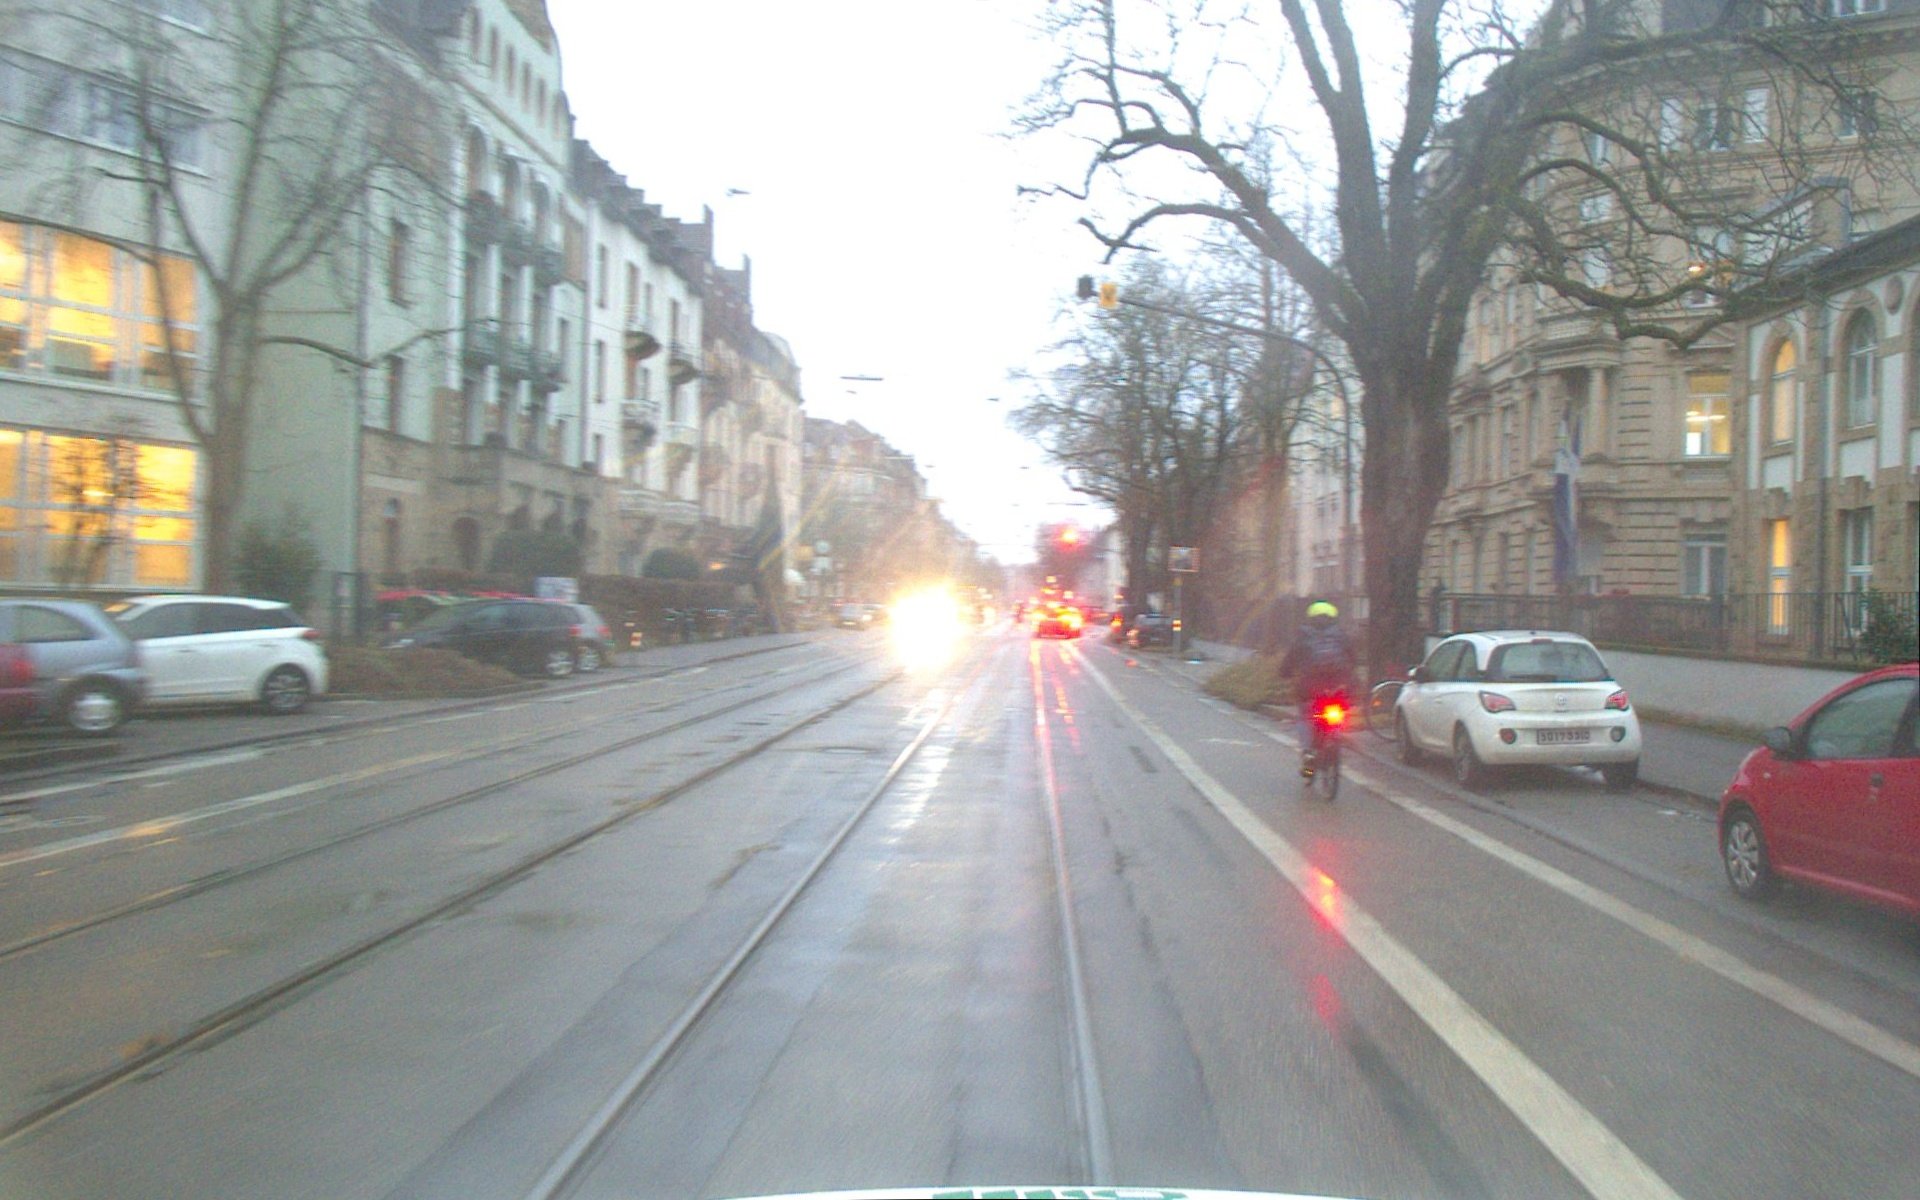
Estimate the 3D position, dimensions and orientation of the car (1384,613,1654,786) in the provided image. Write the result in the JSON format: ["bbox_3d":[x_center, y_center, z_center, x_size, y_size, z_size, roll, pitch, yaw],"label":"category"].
[{"bbox_3d":[5.736,0.952,17.410,1.656,1.546,3.638,1,0,1],"label":"car"}]

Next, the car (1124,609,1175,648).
[{"bbox_3d":[7.548,1.112,66.095,1.642,1.485,4.043,1,0,1],"label":"car"}]

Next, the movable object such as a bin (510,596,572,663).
[{"bbox_3d":[-9.454,0.663,37.312,1.244,1.476,1.105,1,0,-20],"label":"movable object such as a bin"}]

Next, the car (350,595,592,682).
[{"bbox_3d":[-9.125,0.701,31.029,3.968,1.496,1.803,1,0,-43],"label":"car"}]

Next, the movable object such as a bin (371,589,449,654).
[{"bbox_3d":[-12.812,0.492,38.566,1.236,1.476,1.327,1,0,9],"label":"movable object such as a bin"}]

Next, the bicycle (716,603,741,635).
[{"bbox_3d":[-8.059,0.672,57.605,0.678,1.049,1.595,0,-4,-3],"label":"bicycle"}]

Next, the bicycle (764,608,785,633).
[{"bbox_3d":[-7.719,0.850,68.892,0.613,1.035,1.806,0,0,1],"label":"bicycle"}]

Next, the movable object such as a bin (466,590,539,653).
[{"bbox_3d":[-10.983,0.502,39.781,1.236,1.476,1.327,1,0,9],"label":"movable object such as a bin"}]

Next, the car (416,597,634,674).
[{"bbox_3d":[-8.920,0.693,34.045,3.964,1.453,1.821,0,1,-41],"label":"car"}]

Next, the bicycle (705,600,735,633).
[{"bbox_3d":[-8.072,0.559,55.709,0.677,1.049,1.595,0,-4,3],"label":"bicycle"}]

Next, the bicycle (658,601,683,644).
[{"bbox_3d":[-8.458,0.647,48.388,0.617,1.233,1.594,1,0,-7],"label":"bicycle"}]

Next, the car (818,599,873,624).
[{"bbox_3d":[-8.670,0.869,125.045,3.903,1.758,1.741,1,0,4],"label":"car"}]

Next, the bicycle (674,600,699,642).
[{"bbox_3d":[-8.439,0.645,51.082,0.679,1.233,1.594,1,0,-7],"label":"bicycle"}]

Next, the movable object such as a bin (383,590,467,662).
[{"bbox_3d":[-11.439,0.543,35.406,1.236,1.476,1.327,1,0,9],"label":"movable object such as a bin"}]

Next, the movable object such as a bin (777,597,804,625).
[{"bbox_3d":[-9.818,0.631,95.758,1.379,1.557,1.365,1,0,2],"label":"movable object such as a bin"}]

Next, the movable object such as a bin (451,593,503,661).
[{"bbox_3d":[-10.777,0.603,36.898,1.072,1.476,1.106,1,0,-19],"label":"movable object such as a bin"}]

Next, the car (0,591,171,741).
[{"bbox_3d":[-10.347,0.656,16.924,3.950,1.489,1.717,0,-1,-33],"label":"car"}]

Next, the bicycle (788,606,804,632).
[{"bbox_3d":[-7.388,0.850,74.680,0.602,1.099,1.810,1,1,-2],"label":"bicycle"}]

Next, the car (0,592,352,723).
[{"bbox_3d":[-9.752,0.647,20.494,3.822,1.448,1.709,0,1,-44],"label":"car"}]

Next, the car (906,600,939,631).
[{"bbox_3d":[-2.474,1.006,109.099,2.004,1.956,5.100,1,1,0],"label":"car"}]

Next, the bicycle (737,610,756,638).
[{"bbox_3d":[-7.972,0.892,61.877,0.679,1.049,1.594,1,-1,-7],"label":"bicycle"}]

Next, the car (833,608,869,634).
[{"bbox_3d":[-6.641,1.269,101.375,1.795,1.472,4.001,1,1,2],"label":"car"}]

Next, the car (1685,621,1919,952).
[{"bbox_3d":[5.497,0.955,8.868,1.609,1.550,3.572,2,1,0],"label":"car"}]

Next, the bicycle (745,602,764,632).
[{"bbox_3d":[-7.917,0.649,63.842,0.476,1.119,1.931,0,0,1],"label":"bicycle"}]

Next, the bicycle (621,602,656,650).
[{"bbox_3d":[-8.555,0.684,44.031,0.678,1.233,1.596,1,0,-3],"label":"bicycle"}]

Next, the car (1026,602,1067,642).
[{"bbox_3d":[4.427,1.146,85.204,1.952,1.930,4.759,2,-1,1],"label":"car"}]

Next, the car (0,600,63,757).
[{"bbox_3d":[-10.149,0.689,13.892,1.720,1.376,4.318,0,0,44],"label":"car"}]

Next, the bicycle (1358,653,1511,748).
[{"bbox_3d":[5.776,1.217,20.199,1.677,1.089,0.663,1,0,2],"label":"bicycle"}]

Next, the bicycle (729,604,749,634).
[{"bbox_3d":[-7.974,0.699,59.598,0.679,1.049,1.594,1,-2,-7],"label":"bicycle"}]

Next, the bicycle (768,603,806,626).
[{"bbox_3d":[-8.383,0.699,80.139,1.769,1.099,0.616,1,0,-5],"label":"bicycle"}]

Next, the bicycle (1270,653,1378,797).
[{"bbox_3d":[3.278,1.091,15.031,0.692,1.116,2.030,1,1,5],"label":"bicycle"}]

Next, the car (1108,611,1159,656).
[{"bbox_3d":[8.088,1.530,77.542,1.952,1.933,5.028,1,1,1],"label":"car"}]

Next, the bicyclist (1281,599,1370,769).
[{"bbox_3d":[3.286,0.737,14.923,0.642,1.471,0.850,1,0,4],"label":"bicyclist"}]
